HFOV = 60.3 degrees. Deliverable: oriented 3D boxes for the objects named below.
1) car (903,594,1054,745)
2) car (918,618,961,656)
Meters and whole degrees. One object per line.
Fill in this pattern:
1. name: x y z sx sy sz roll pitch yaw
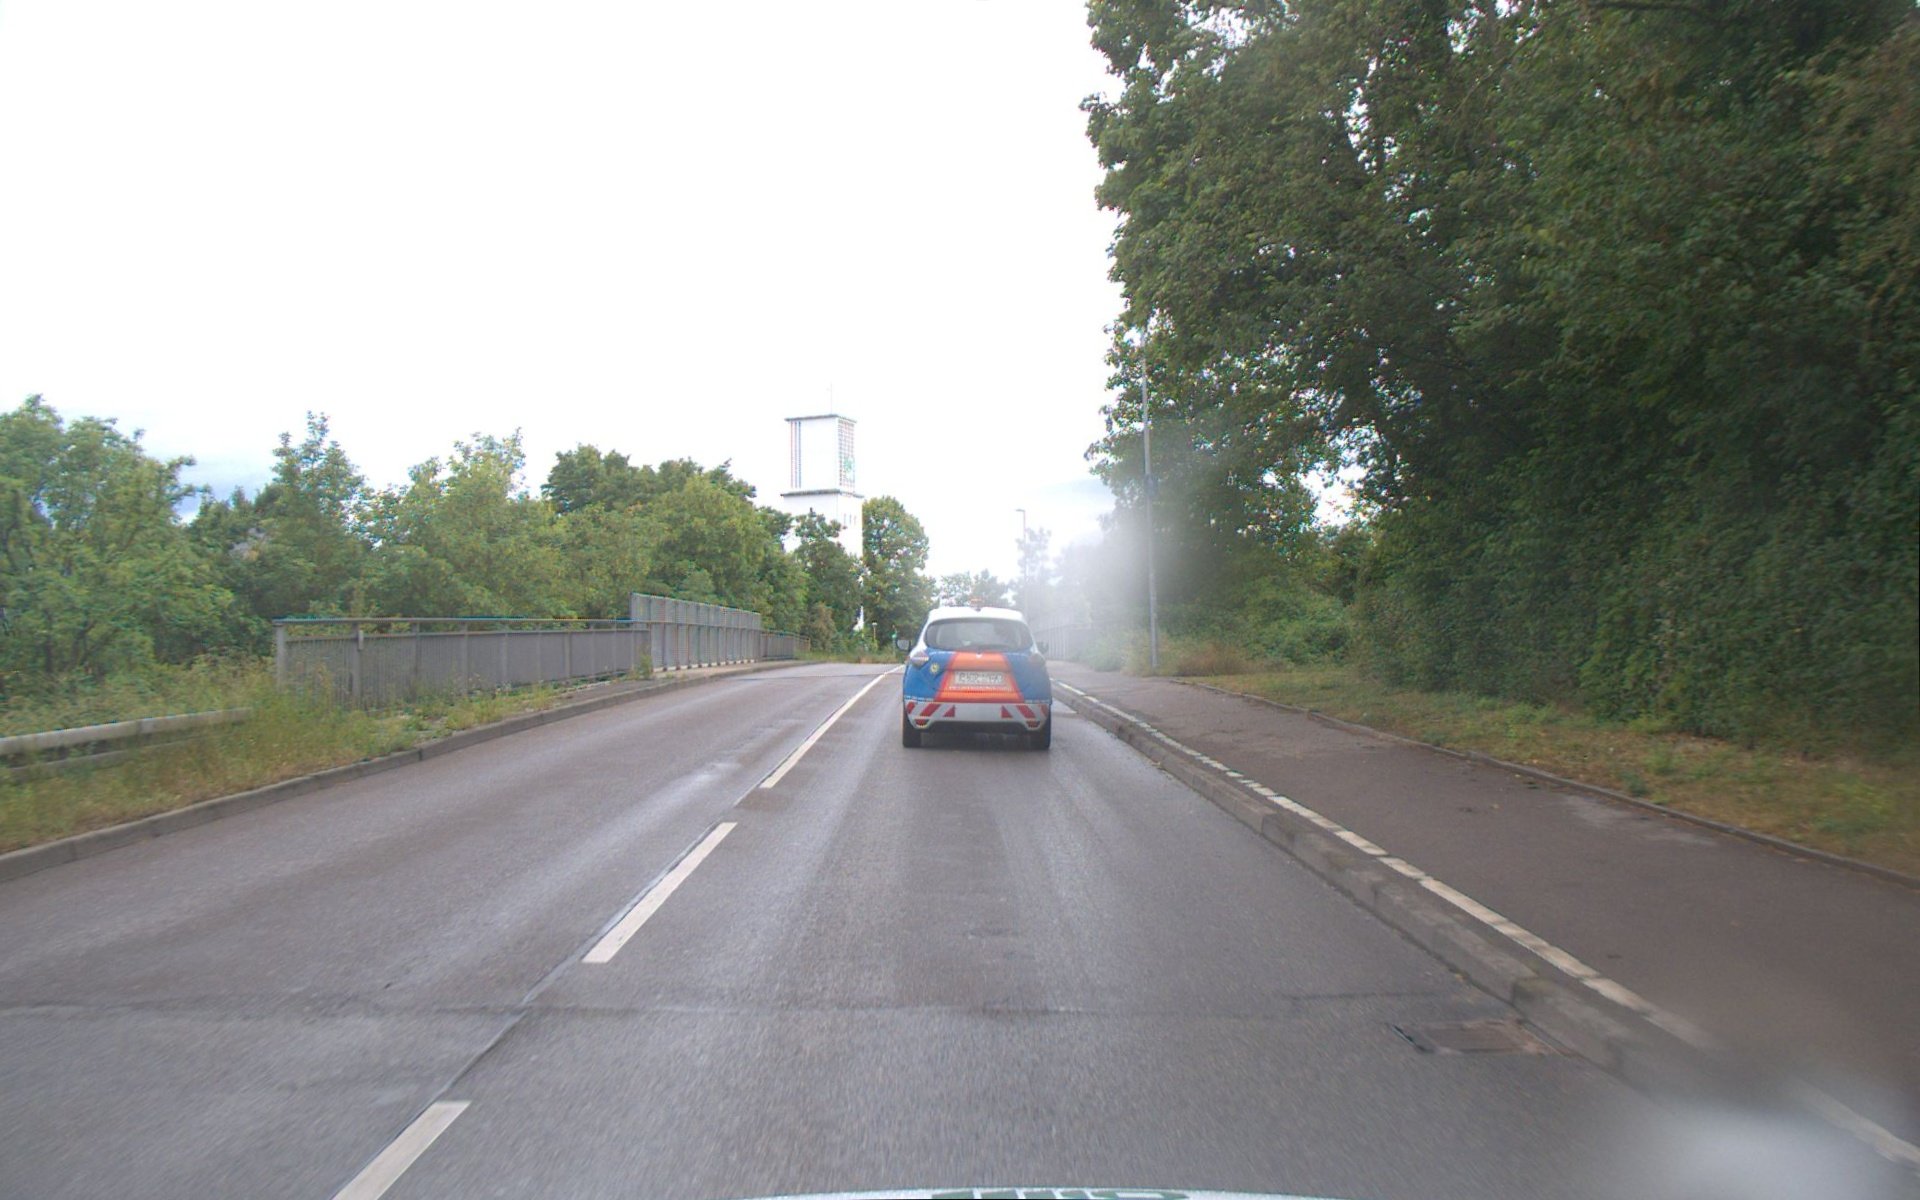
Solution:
1. car: 0.177 0.776 19.661 1.623 1.621 3.567 0 -1 -1
2. car: -0.930 1.634 74.490 1.766 1.618 3.560 -2 0 -3
